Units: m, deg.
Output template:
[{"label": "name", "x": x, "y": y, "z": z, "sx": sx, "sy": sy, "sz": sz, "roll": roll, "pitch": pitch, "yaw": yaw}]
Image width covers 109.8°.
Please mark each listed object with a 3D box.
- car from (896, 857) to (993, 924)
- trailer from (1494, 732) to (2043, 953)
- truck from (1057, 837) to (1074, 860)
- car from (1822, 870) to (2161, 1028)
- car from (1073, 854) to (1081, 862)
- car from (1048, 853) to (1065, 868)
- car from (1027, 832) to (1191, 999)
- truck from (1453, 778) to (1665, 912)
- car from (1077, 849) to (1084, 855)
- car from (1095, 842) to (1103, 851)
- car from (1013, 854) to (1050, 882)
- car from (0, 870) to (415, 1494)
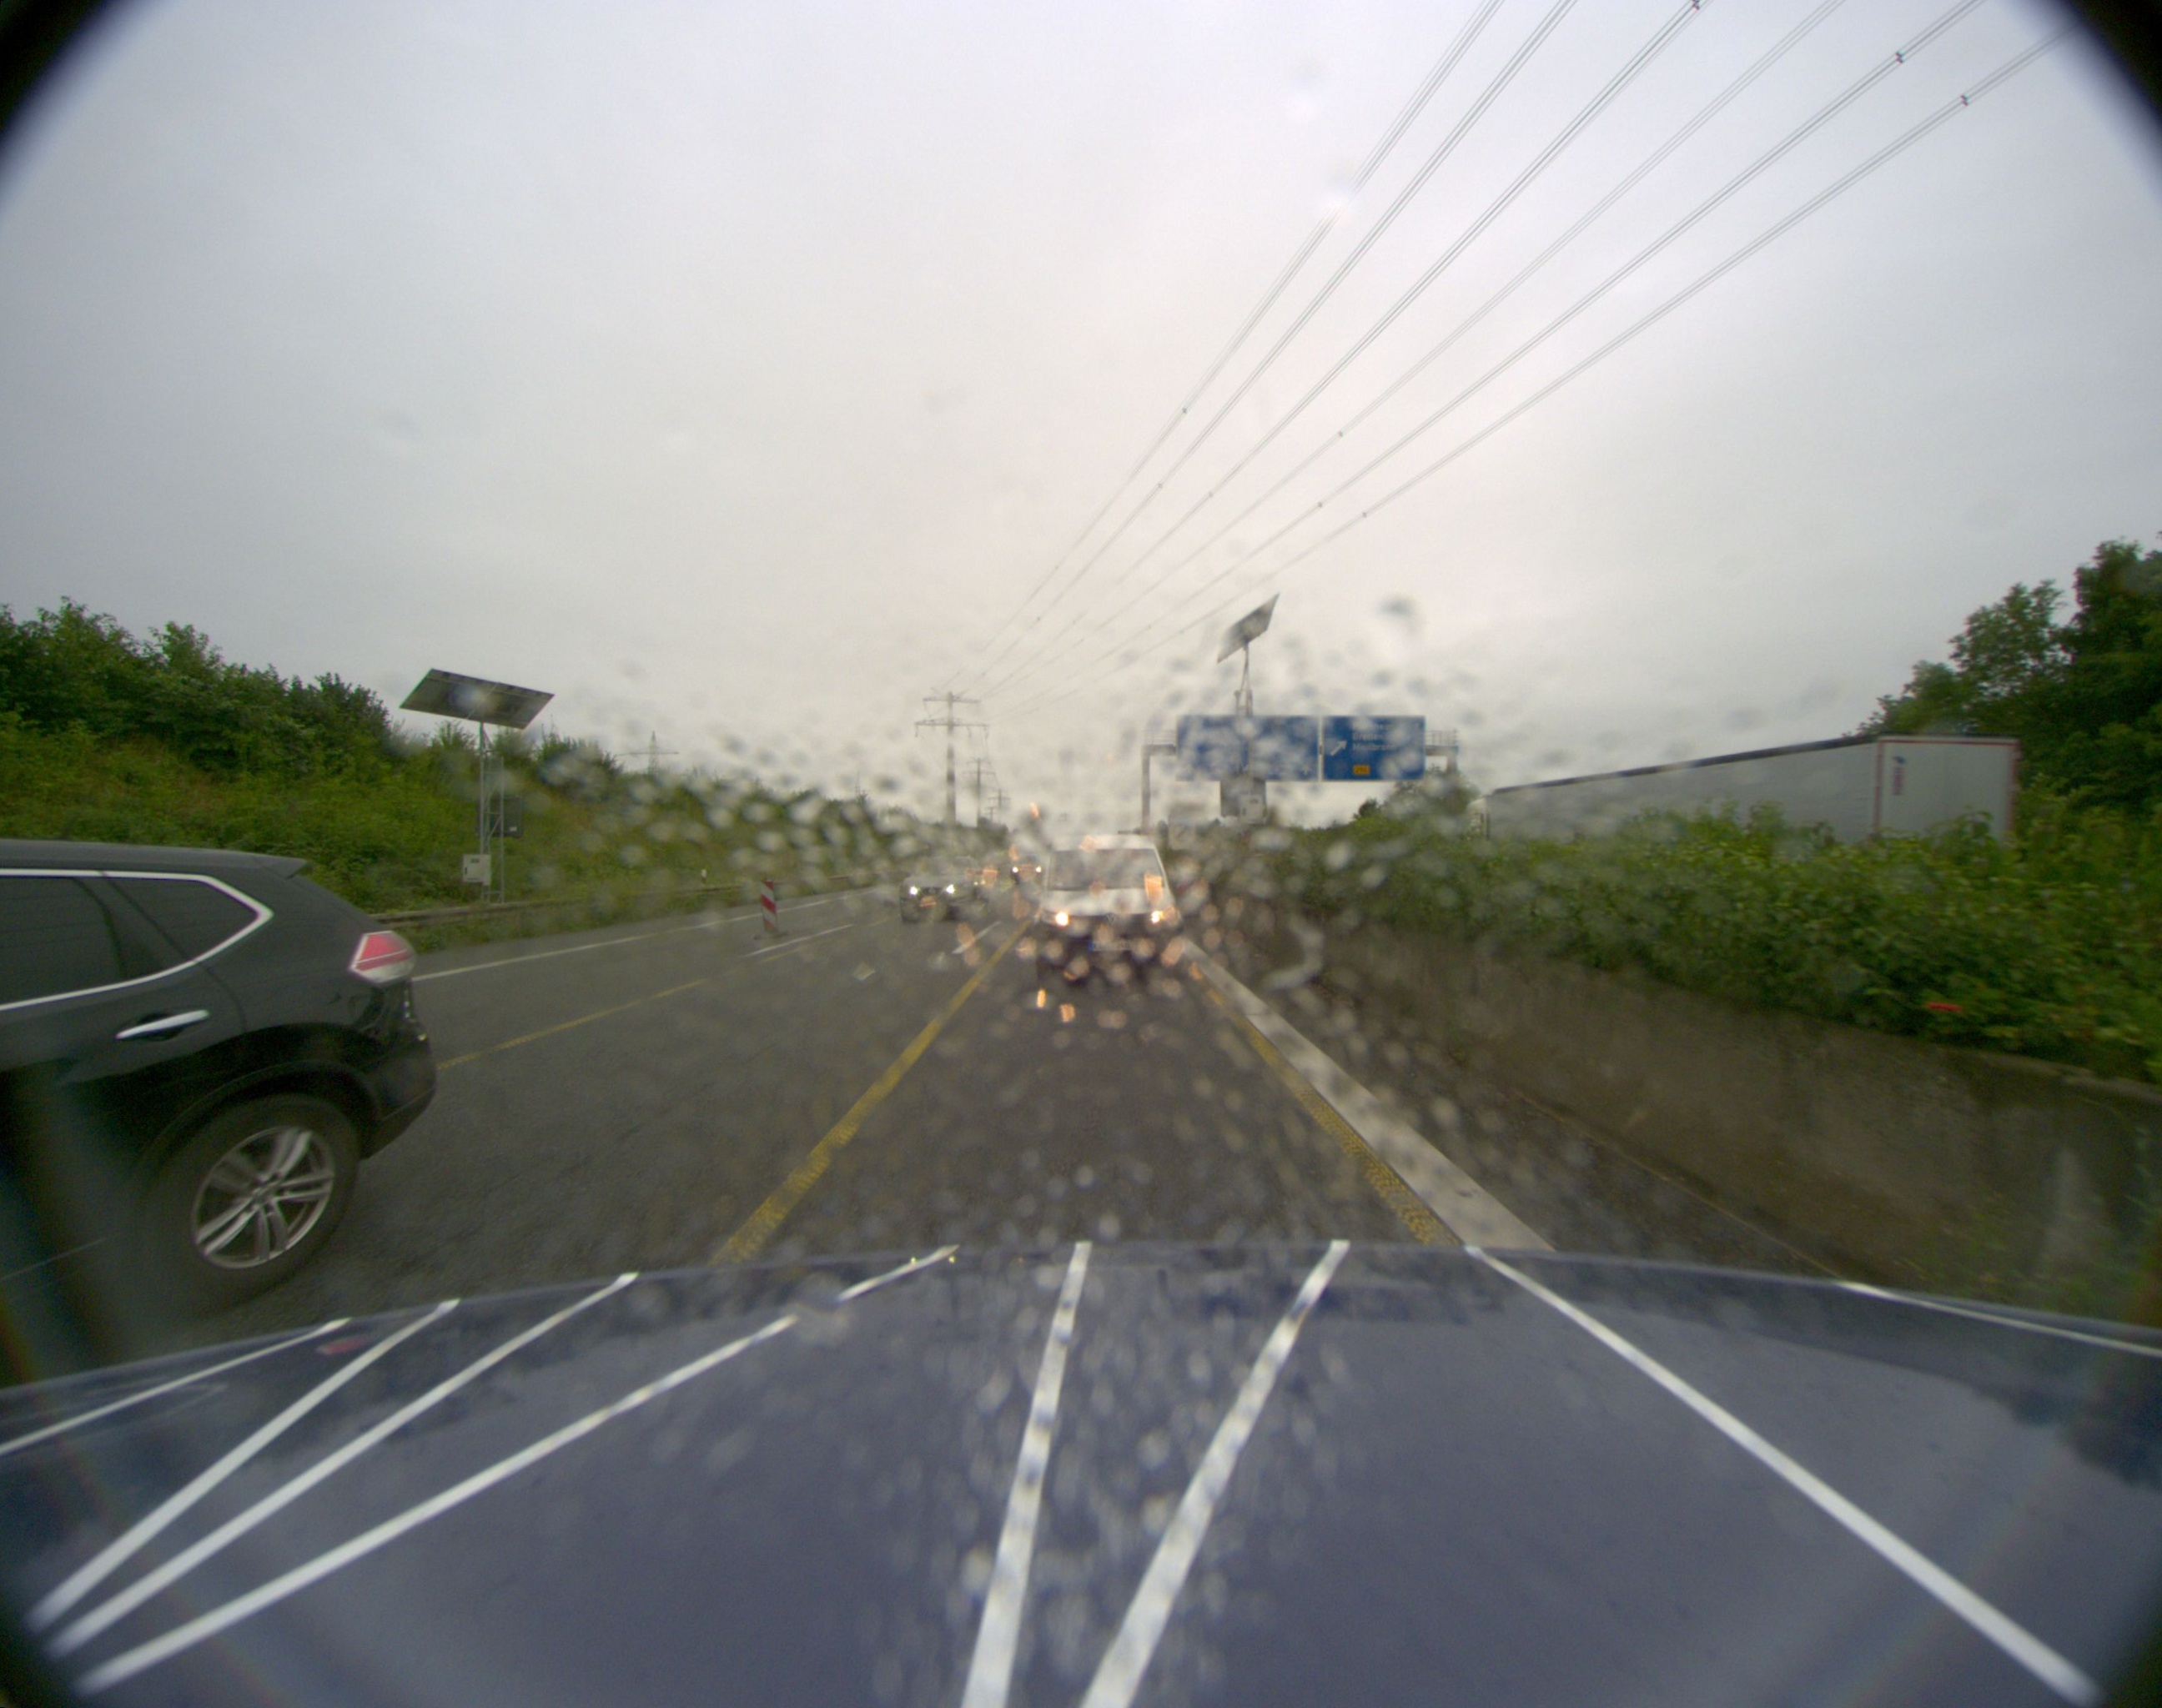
[{"label": "car", "x": -3.463, "y": 0.872, "z": 20.060, "sx": 1.804, "sy": 1.523, "sz": 4.149, "roll": -2, "pitch": 0, "yaw": -1}, {"label": "trailer", "x": 16.319, "y": -0.250, "z": 20.686, "sx": 2.793, "sy": 4.000, "sz": 13.249, "roll": 2, "pitch": 0, "yaw": 0}, {"label": "truck", "x": -2.794, "y": -1.016, "z": 140.439, "sx": 2.875, "sy": 4.007, "sz": 8.308, "roll": -1, "pitch": 1, "yaw": 1}, {"label": "car", "x": 11.485, "y": 0.969, "z": 8.867, "sx": 1.796, "sy": 1.441, "sz": 4.000, "roll": 0, "pitch": 0, "yaw": 1}, {"label": "car", "x": -0.970, "y": 0.970, "z": 183.212, "sx": 1.784, "sy": 2.002, "sz": 4.000, "roll": -2, "pitch": 0, "yaw": 1}, {"label": "car", "x": -2.891, "y": 0.772, "z": 90.569, "sx": 1.804, "sy": 1.598, "sz": 4.149, "roll": -2, "pitch": 0, "yaw": -1}, {"label": "car", "x": 0.333, "y": 0.672, "z": 10.609, "sx": 1.768, "sy": 1.803, "sz": 4.345, "roll": -2, "pitch": 0, "yaw": 1}, {"label": "truck", "x": 16.340, "y": -0.294, "z": 26.790, "sx": 2.793, "sy": 4.000, "sz": 7.232, "roll": 2, "pitch": 1, "yaw": 0}, {"label": "car", "x": -0.152, "y": -0.563, "z": 216.343, "sx": 1.906, "sy": 1.608, "sz": 4.000, "roll": 0, "pitch": 0, "yaw": 1}, {"label": "car", "x": 4.473, "y": -1.927, "z": 189.812, "sx": 1.785, "sy": 2.002, "sz": 4.000, "roll": -2, "pitch": 1, "yaw": 1}, {"label": "car", "x": -2.742, "y": 0.758, "z": 42.552, "sx": 1.804, "sy": 1.432, "sz": 4.149, "roll": -2, "pitch": 0, "yaw": -1}, {"label": "car", "x": -3.769, "y": 0.928, "z": 1.172, "sx": 1.689, "sy": 1.649, "sz": 4.280, "roll": -2, "pitch": 0, "yaw": -1}]
